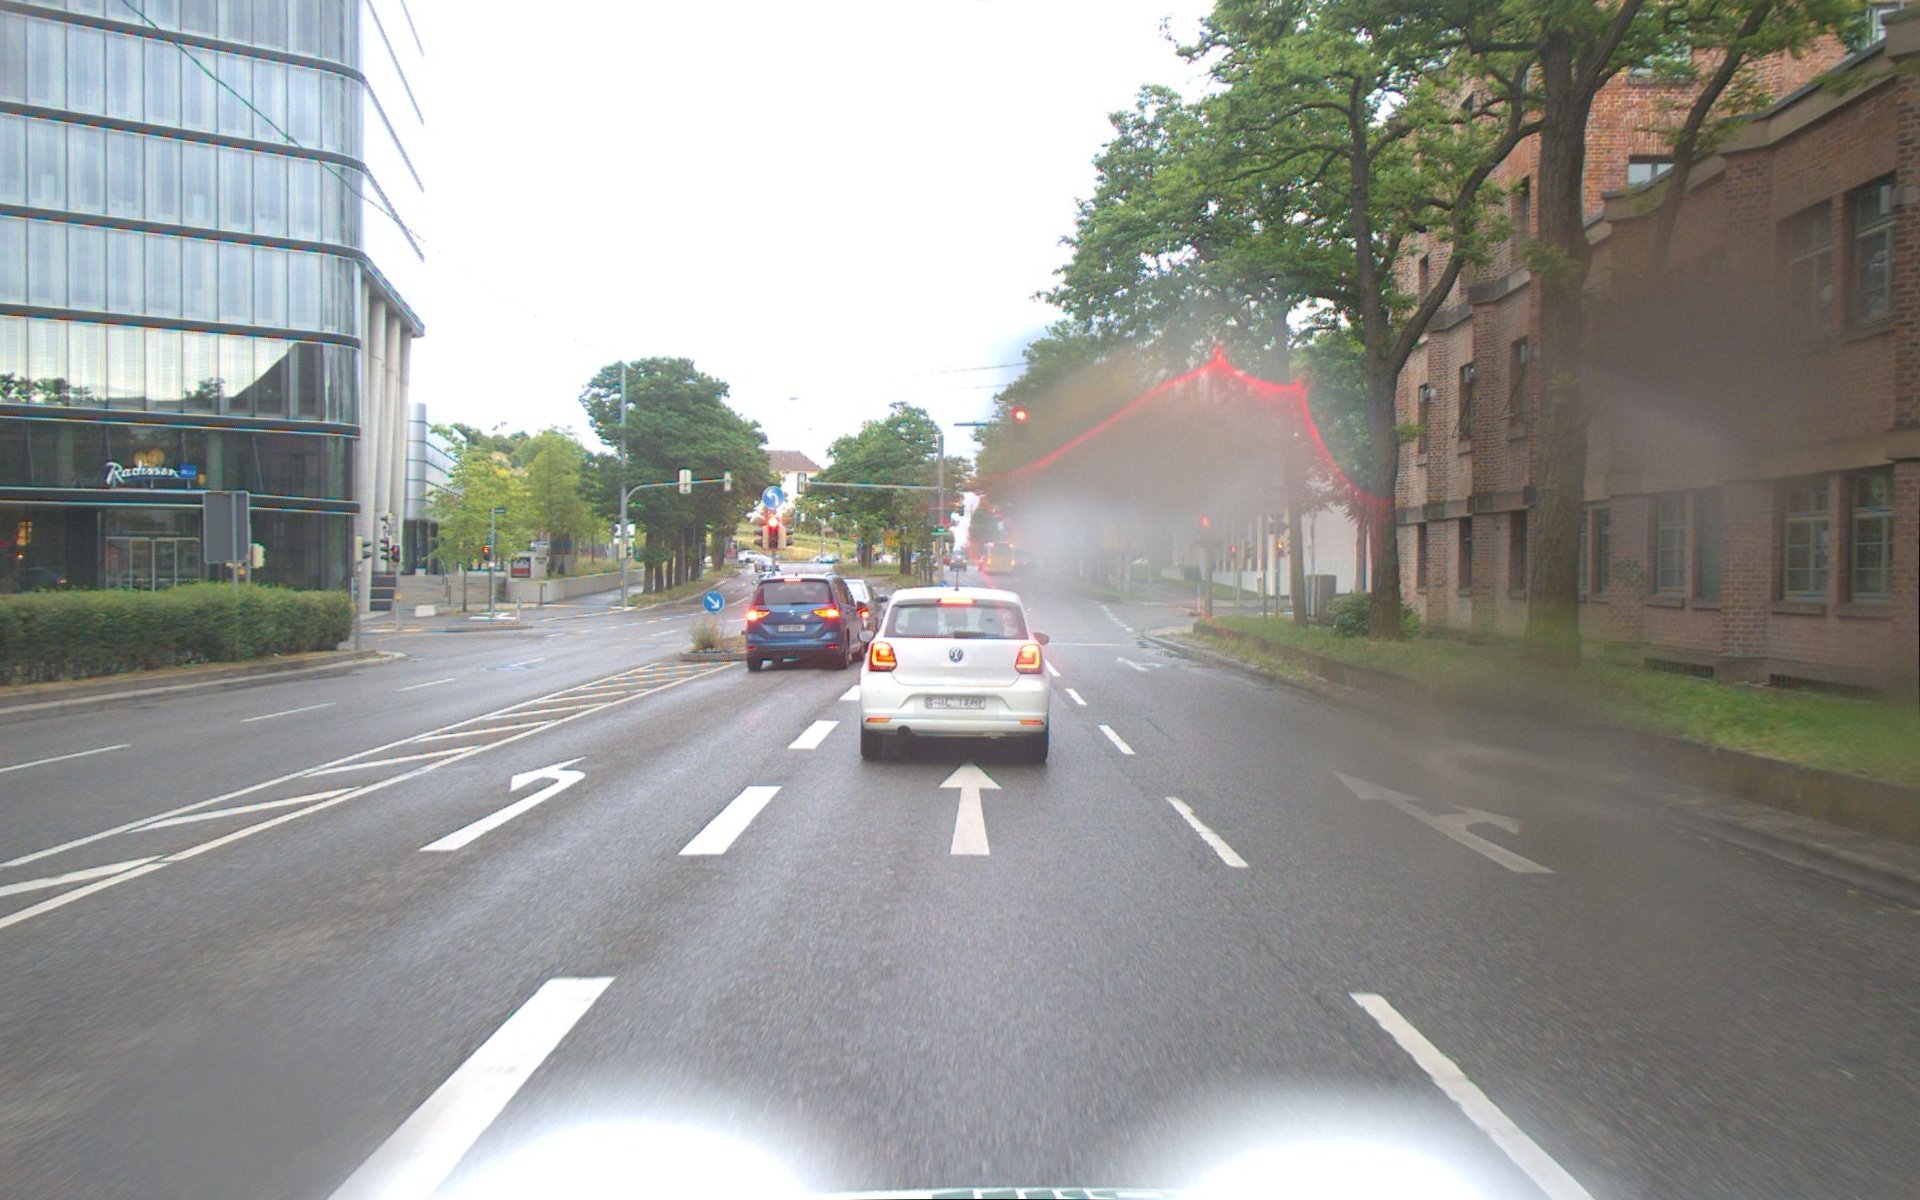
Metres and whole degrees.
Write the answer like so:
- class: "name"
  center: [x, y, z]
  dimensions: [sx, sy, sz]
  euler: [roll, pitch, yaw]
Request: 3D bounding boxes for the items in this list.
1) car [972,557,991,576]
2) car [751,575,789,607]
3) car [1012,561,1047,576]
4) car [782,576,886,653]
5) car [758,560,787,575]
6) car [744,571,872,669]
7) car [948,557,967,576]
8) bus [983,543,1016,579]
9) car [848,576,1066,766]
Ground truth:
- class: "car"
  center: [2.313, -3.601, 177.133]
  dimensions: [1.953, 2.049, 3.999]
  euler: [0, 1, -1]
- class: "car"
  center: [-9.699, -0.485, 84.456]
  dimensions: [1.715, 1.547, 3.815]
  euler: [-1, 2, -4]
- class: "car"
  center: [7.426, -3.357, 176.809]
  dimensions: [1.671, 1.541, 3.802]
  euler: [0, 1, 44]
- class: "car"
  center: [-2.674, 0.273, 35.904]
  dimensions: [1.808, 1.536, 4.049]
  euler: [-1, 1, 2]
- class: "car"
  center: [-18.996, -3.278, 167.438]
  dimensions: [1.788, 1.435, 4.628]
  euler: [-2, 2, -20]
- class: "car"
  center: [-2.653, 0.300, 29.796]
  dimensions: [1.735, 1.624, 4.199]
  euler: [-1, 1, 2]
- class: "car"
  center: [-0.303, -3.576, 177.083]
  dimensions: [1.953, 2.049, 3.999]
  euler: [0, 1, -1]
- class: "bus"
  center: [3.779, -3.823, 160.999]
  dimensions: [2.771, 3.323, 10.000]
  euler: [1, 2, -1]
- class: "car"
  center: [-0.018, 0.548, 15.420]
  dimensions: [1.757, 1.528, 4.000]
  euler: [0, 1, 0]
